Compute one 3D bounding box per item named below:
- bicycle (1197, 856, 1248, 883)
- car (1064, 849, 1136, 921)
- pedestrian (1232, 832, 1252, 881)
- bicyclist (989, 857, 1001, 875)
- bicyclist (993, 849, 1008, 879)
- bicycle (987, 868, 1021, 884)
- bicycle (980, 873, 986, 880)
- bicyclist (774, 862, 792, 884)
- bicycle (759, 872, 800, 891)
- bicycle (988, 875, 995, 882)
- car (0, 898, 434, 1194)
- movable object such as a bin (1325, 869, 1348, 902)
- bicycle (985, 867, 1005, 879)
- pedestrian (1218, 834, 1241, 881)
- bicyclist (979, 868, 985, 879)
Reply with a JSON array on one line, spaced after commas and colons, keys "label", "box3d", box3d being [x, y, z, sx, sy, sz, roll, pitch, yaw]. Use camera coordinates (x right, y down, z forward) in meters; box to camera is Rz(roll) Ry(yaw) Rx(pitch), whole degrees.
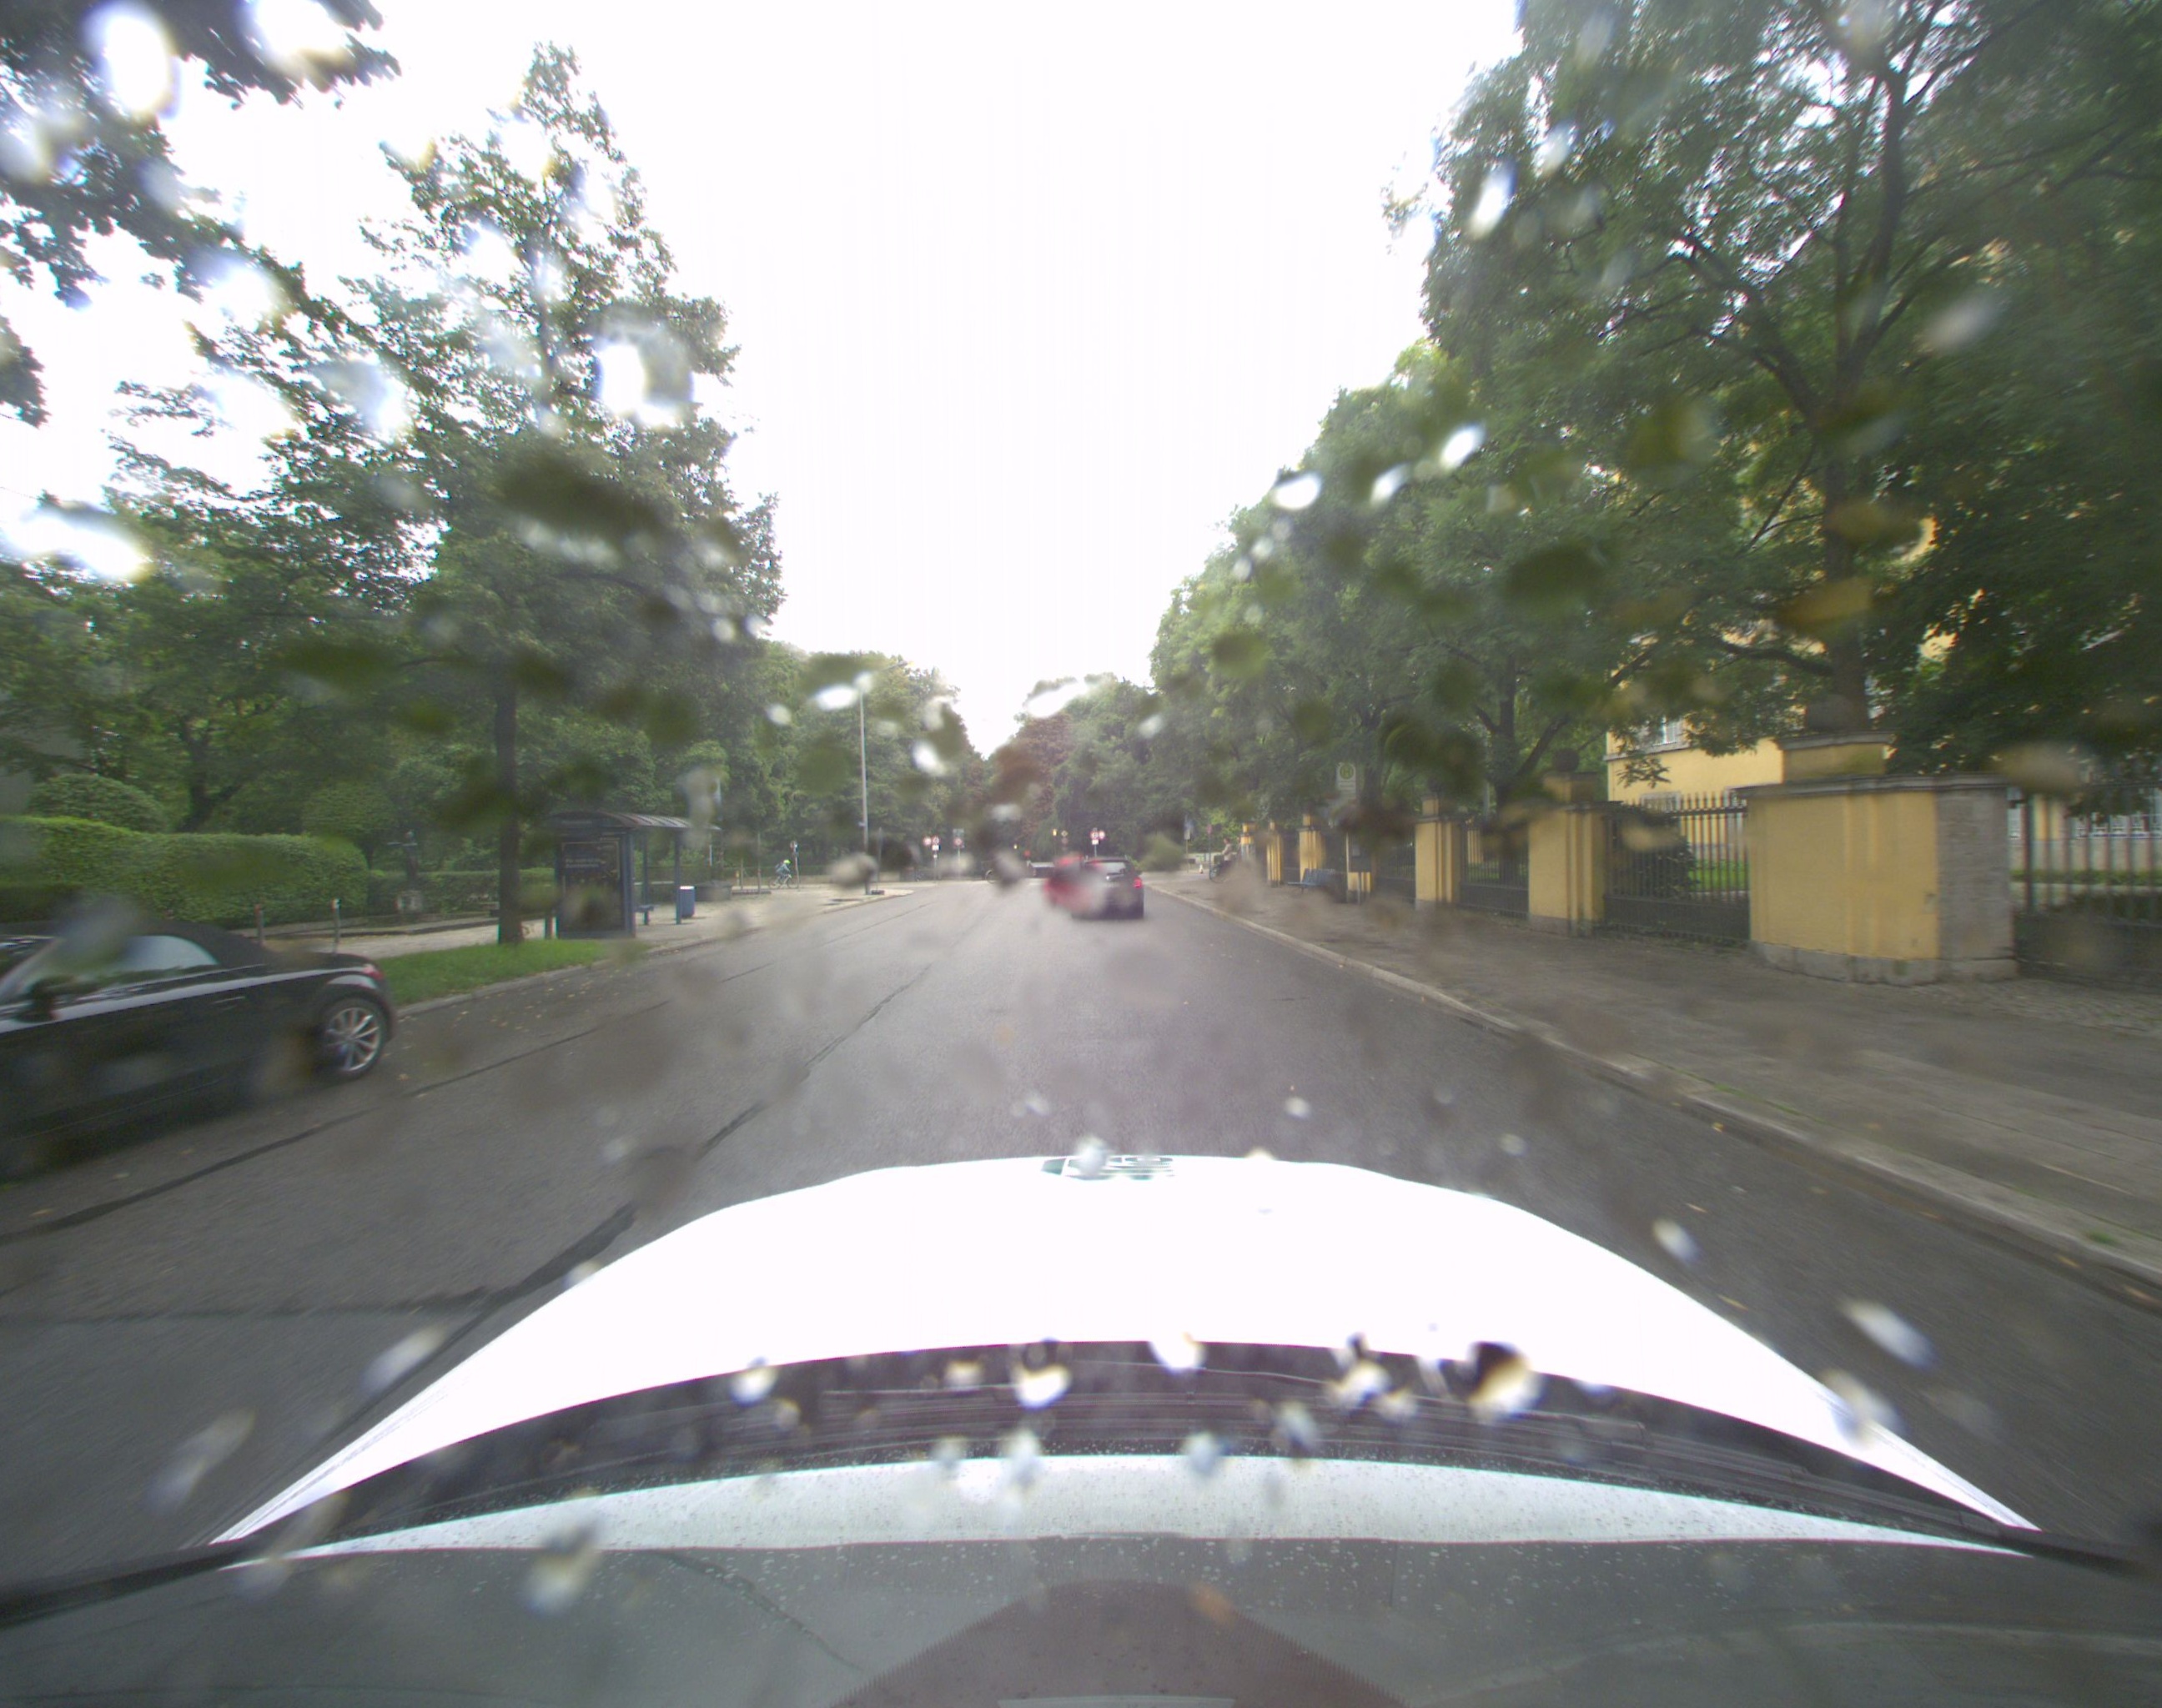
[{"label": "bicycle", "box3d": [5.846, 0.645, 33.691, 1.905, 0.949, 0.580, -5, -1, -9]}, {"label": "car", "box3d": [0.474, 0.708, 20.469, 1.572, 1.584, 4.045, -2, 0, 1]}, {"label": "pedestrian", "box3d": [6.558, 0.107, 33.239, 0.541, 1.918, 0.491, -4, -1, -9]}, {"label": "bicyclist", "box3d": [-6.302, 0.873, 59.555, 0.676, 1.282, 0.602, -2, 0, 14]}, {"label": "bicyclist", "box3d": [-4.309, 0.553, 43.629, 0.750, 1.585, 0.654, -2, -1, -9]}, {"label": "bicycle", "box3d": [-4.118, 1.153, 43.611, 1.762, 0.796, 0.569, -1, -1, -9]}, {"label": "bicycle", "box3d": [-13.688, 3.139, 113.653, 0.680, 0.830, 2.101, -2, -1, -11]}, {"label": "bicyclist", "box3d": [-17.016, 1.079, 46.451, 0.856, 1.257, 0.520, -1, -1, -28]}, {"label": "bicycle", "box3d": [-17.151, 1.550, 46.318, 2.115, 0.991, 0.675, -2, -1, -29]}, {"label": "bicycle", "box3d": [-11.092, 3.037, 101.400, 0.680, 0.830, 2.101, -2, -1, -11]}, {"label": "car", "box3d": [-6.222, 1.061, 4.806, 1.573, 1.343, 4.042, -2, 0, -1]}, {"label": "movable object such as a bin", "box3d": [6.269, 0.760, 20.007, 0.395, 0.780, 0.465, -2, 0, 0]}, {"label": "bicycle", "box3d": [-6.284, 1.357, 59.525, 0.674, 0.830, 2.118, -2, -1, 15]}, {"label": "pedestrian", "box3d": [6.267, 0.132, 34.352, 0.674, 1.918, 0.638, -4, -1, -9]}, {"label": "bicyclist", "box3d": [-13.825, 2.687, 113.987, 0.681, 1.504, 0.897, -2, 0, -11]}]
